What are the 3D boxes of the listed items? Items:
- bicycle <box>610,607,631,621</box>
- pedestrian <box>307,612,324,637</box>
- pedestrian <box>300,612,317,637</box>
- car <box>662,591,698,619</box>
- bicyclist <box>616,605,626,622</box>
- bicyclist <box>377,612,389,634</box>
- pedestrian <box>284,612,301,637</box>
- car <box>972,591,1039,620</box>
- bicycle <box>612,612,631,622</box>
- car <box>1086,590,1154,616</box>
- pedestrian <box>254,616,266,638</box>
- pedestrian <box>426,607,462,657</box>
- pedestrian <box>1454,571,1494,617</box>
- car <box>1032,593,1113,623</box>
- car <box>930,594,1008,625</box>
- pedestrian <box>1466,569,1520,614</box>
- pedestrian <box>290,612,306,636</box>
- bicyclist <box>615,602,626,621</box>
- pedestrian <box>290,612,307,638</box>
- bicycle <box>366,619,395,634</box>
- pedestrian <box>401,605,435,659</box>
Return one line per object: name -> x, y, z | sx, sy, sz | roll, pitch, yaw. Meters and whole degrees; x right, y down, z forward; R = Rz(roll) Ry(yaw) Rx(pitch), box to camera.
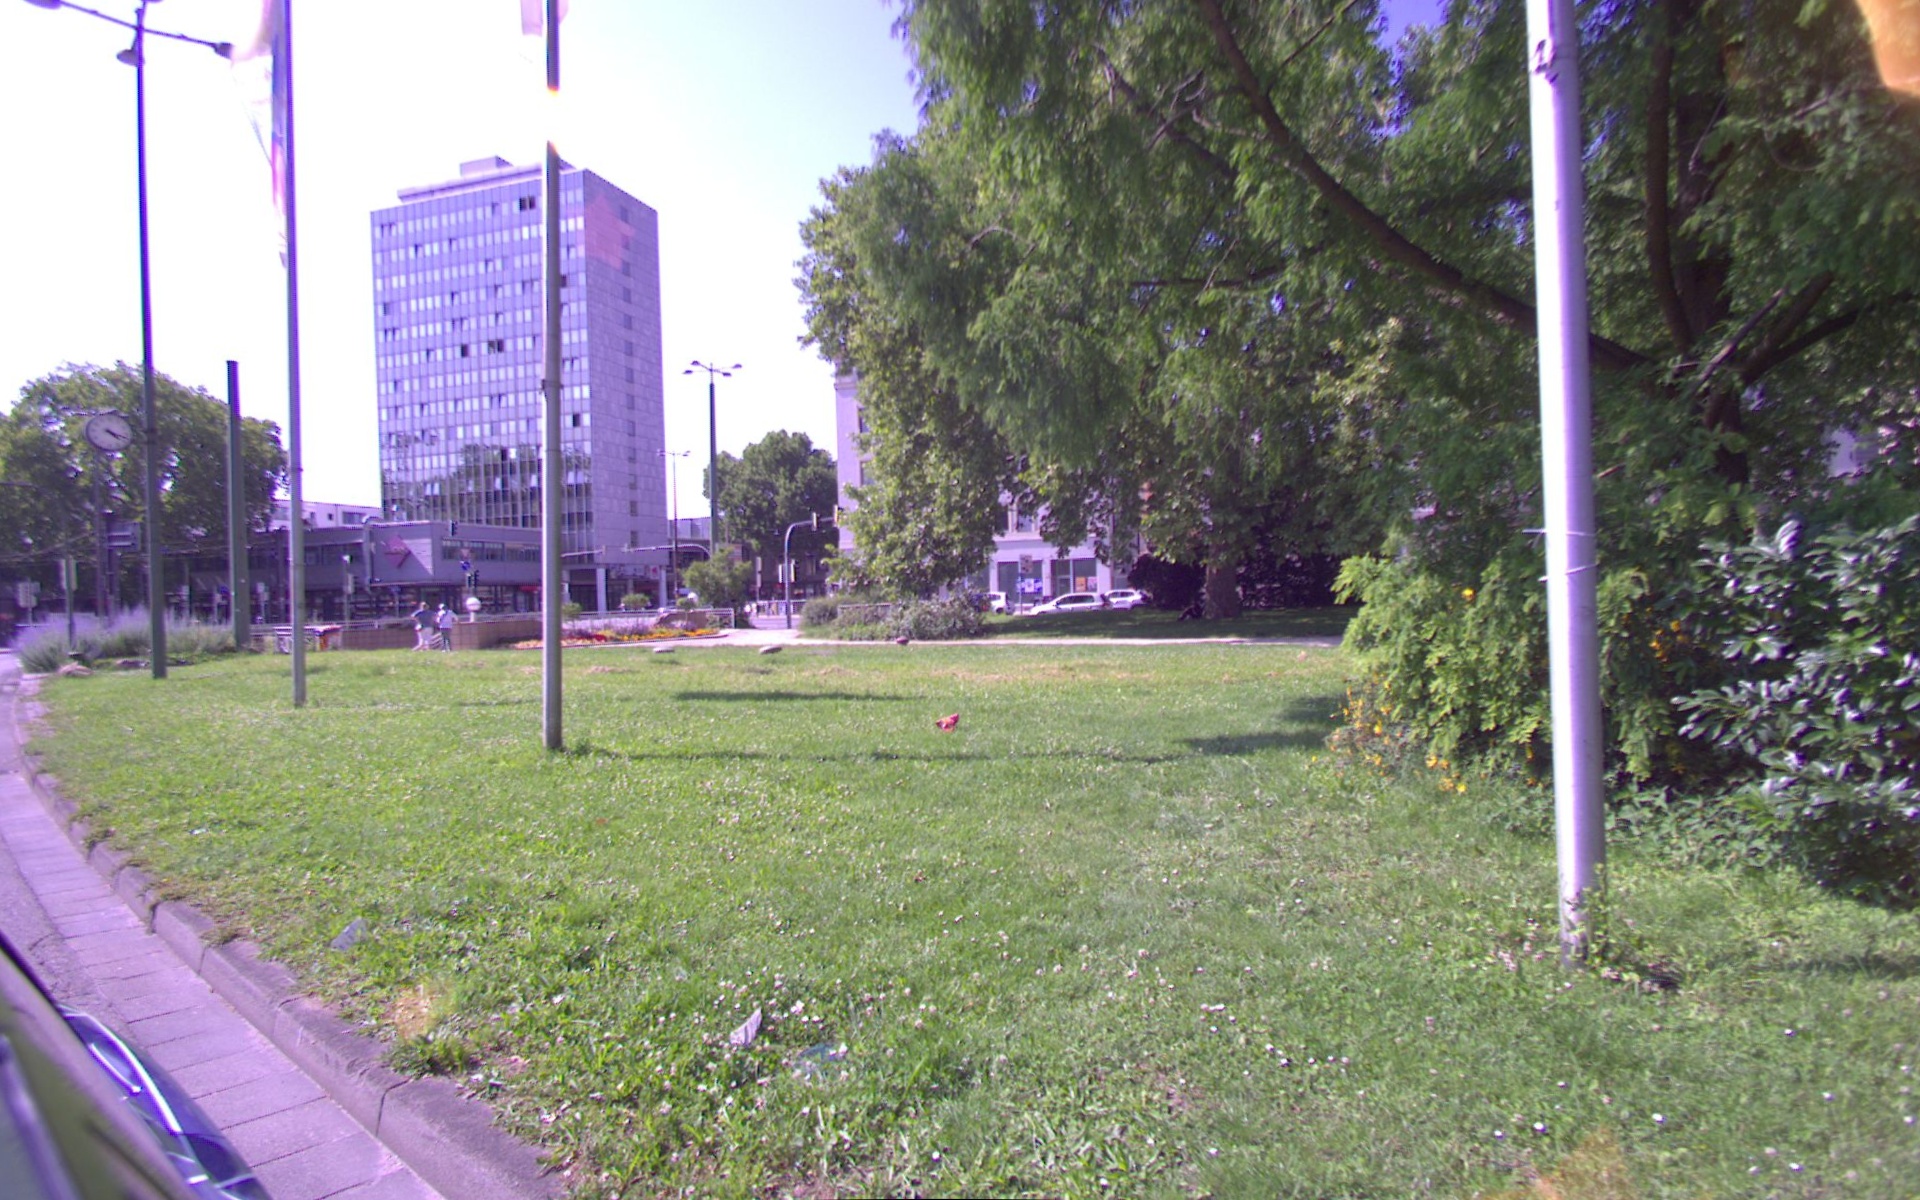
bicycle -> -33.425, 1.402, 99.581 | 0.715, 1.309, 1.917 | 0, 1, 34
pedestrian -> -48.943, 1.846, 76.861 | 0.665, 1.850, 0.819 | -1, 0, 17
pedestrian -> -49.635, 1.838, 77.093 | 0.729, 1.850, 0.819 | -1, 0, 17
car -> -31.287, 0.512, 113.167 | 1.731, 2.938, 4.614 | -2, 0, 15
bicyclist -> -32.647, 1.307, 97.563 | 0.580, 1.538, 0.677 | 0, 1, 28
bicyclist -> -46.662, 1.856, 81.800 | 0.584, 1.700, 0.674 | -2, 0, 43
pedestrian -> -50.804, 1.867, 77.003 | 0.665, 1.850, 0.819 | -1, 0, 16
car -> 2.535, 0.291, 56.112 | 3.381, 1.475, 1.509 | -2, 0, 18
bicycle -> -32.636, 1.636, 97.582 | 0.590, 0.889, 1.793 | 0, 1, 28
car -> 8.495, 0.149, 53.776 | 3.381, 1.248, 1.509 | -2, 0, 18
pedestrian -> -53.126, 2.033, 76.802 | 0.599, 1.650, 0.558 | -1, 0, 42
pedestrian -> -16.223, 1.003, 31.815 | 0.473, 1.521, 0.842 | -2, 0, 30
pedestrian -> 14.323, -0.160, 28.218 | 0.744, 1.235, 0.672 | -2, 0, -32
car -> 5.377, 0.362, 48.363 | 3.555, 1.278, 1.602 | -2, 0, 18
car -> 0.447, 0.465, 50.303 | 3.555, 1.356, 1.602 | -2, 0, 18
pedestrian -> 14.964, -0.237, 28.426 | 0.744, 1.235, 1.061 | -2, 0, -31
pedestrian -> -51.523, 1.885, 78.768 | 0.668, 1.820, 0.816 | -1, 0, 27
bicyclist -> -33.405, 1.134, 99.620 | 0.695, 1.781, 0.676 | 0, 1, 35
pedestrian -> -49.225, 1.846, 75.263 | 0.665, 1.850, 0.819 | -1, 0, 16
bicycle -> -46.748, 2.142, 81.702 | 0.577, 1.110, 1.942 | -2, 0, 42
pedestrian -> -16.719, 0.986, 31.234 | 0.597, 1.605, 0.685 | -2, 0, 30
